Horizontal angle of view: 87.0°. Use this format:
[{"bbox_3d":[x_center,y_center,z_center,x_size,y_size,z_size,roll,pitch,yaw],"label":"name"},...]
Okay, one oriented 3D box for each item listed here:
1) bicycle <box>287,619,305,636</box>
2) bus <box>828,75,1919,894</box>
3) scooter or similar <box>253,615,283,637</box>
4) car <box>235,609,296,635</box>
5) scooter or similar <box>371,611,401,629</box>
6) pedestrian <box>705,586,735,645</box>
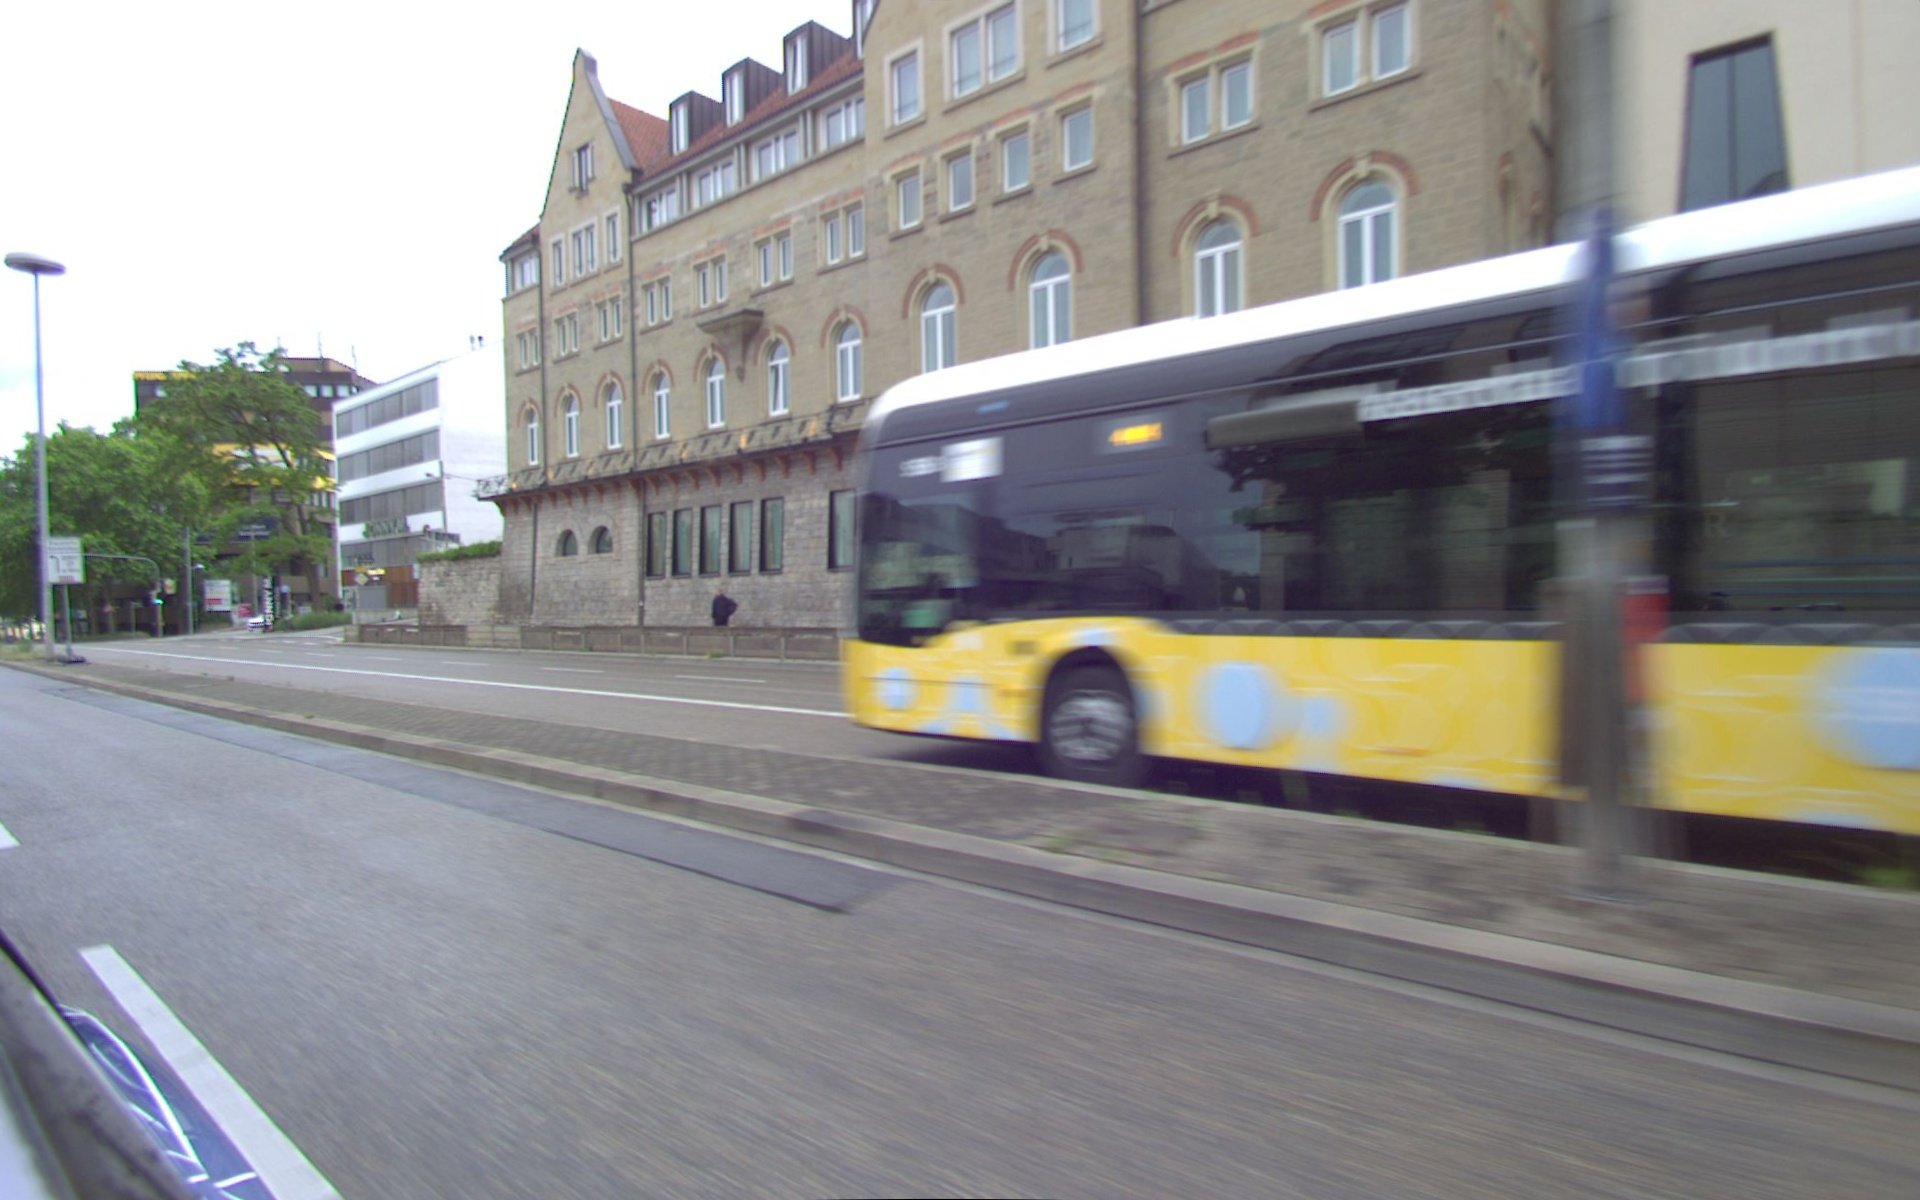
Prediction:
[{"bbox_3d":[-40.702,1.709,62.057,1.757,0.999,0.452,-2,0,41],"label":"bicycle"},{"bbox_3d":[3.538,-0.455,6.754,10.086,3.586,2.671,-2,-1,41],"label":"bus"},{"bbox_3d":[-44.105,1.648,64.494,0.366,1.256,1.750,-2,2,11],"label":"scooter or similar"},{"bbox_3d":[-52.898,1.617,77.189,1.967,1.666,4.855,-3,2,-11],"label":"car"},{"bbox_3d":[-35.187,1.209,62.026,0.443,0.928,1.455,-3,4,38],"label":"scooter or similar"},{"bbox_3d":[-7.244,0.462,30.563,0.633,1.759,0.621,0,-3,-45],"label":"pedestrian"}]
